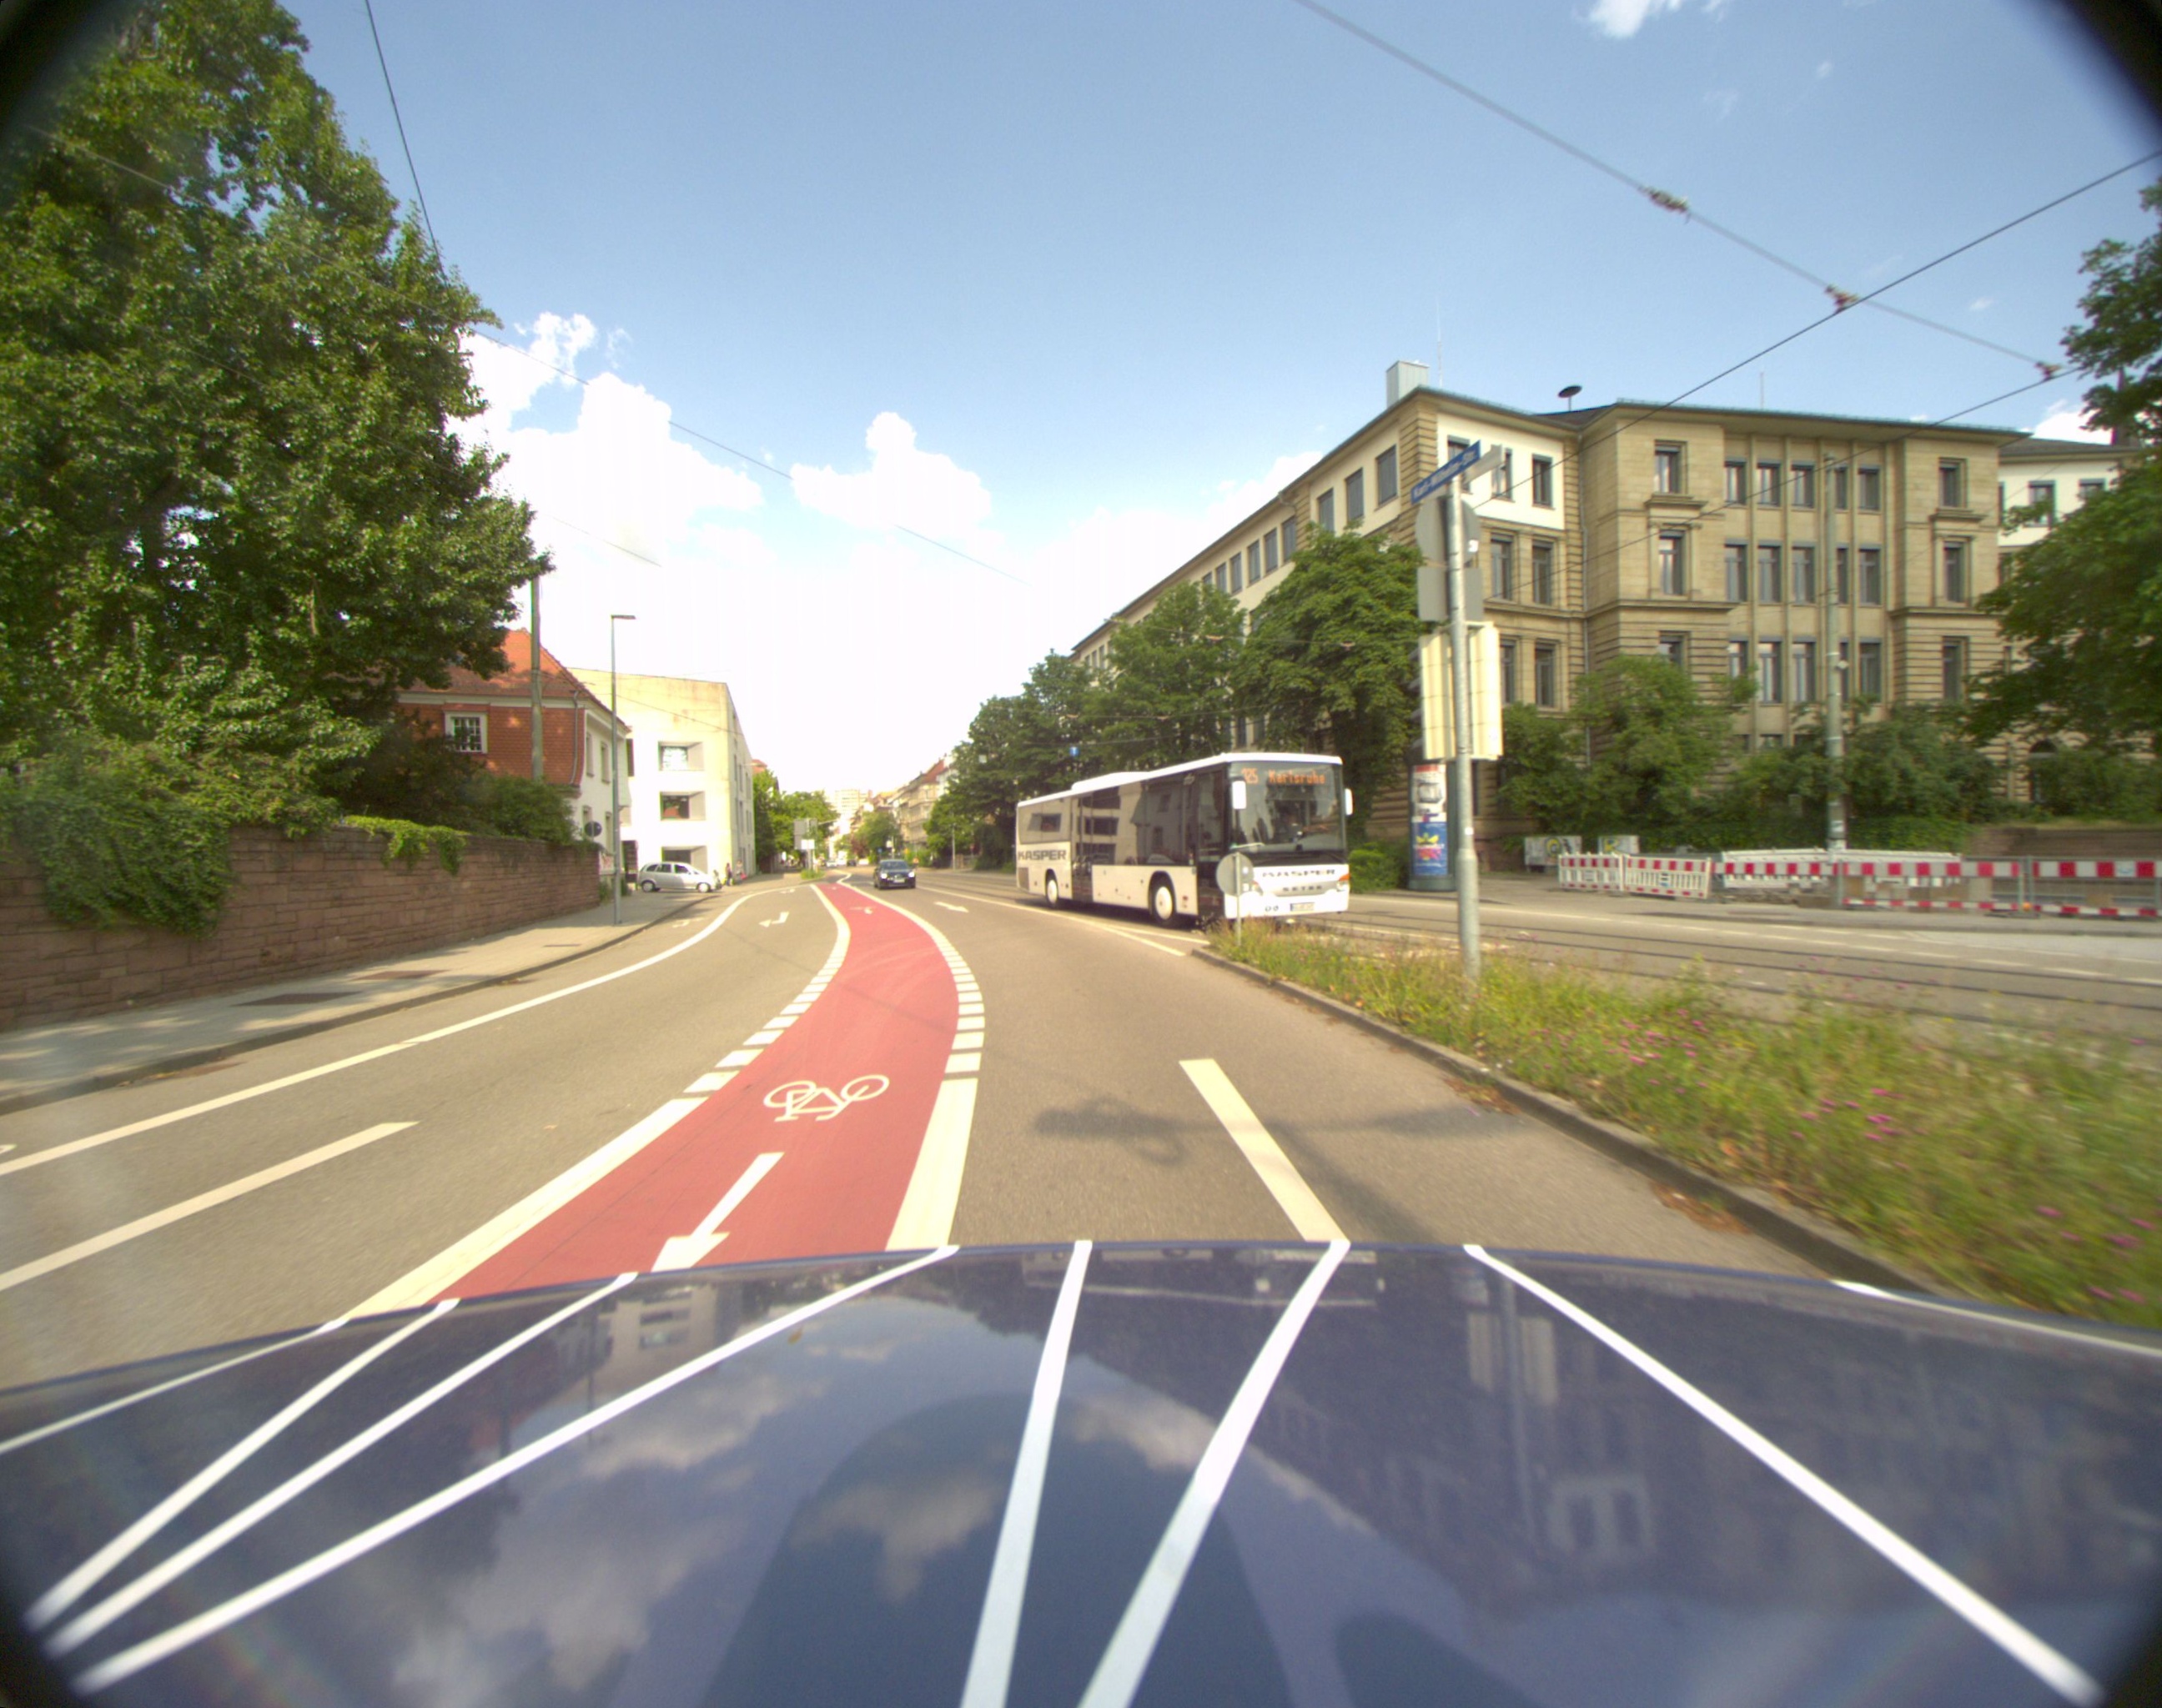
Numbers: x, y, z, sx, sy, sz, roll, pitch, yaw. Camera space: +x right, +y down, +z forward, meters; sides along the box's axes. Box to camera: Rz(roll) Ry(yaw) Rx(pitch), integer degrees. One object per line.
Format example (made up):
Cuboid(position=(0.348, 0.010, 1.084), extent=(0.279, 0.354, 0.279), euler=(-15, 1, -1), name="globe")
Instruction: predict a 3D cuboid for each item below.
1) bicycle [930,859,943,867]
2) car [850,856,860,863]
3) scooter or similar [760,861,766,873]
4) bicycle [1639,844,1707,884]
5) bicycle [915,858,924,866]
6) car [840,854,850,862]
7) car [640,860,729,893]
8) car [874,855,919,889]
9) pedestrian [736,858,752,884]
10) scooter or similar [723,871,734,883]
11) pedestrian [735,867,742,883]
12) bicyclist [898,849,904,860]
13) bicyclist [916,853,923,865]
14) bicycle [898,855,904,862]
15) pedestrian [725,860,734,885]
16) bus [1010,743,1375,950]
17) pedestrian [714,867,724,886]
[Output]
Cuboid(position=(-18.934, 1.190, 99.591), extent=(1.147, 0.903, 2.983), euler=(-5, 1, -21), name="bicycle")
Cuboid(position=(-47.264, 1.116, 158.994), extent=(1.696, 1.393, 3.923), euler=(1, 0, -21), name="car")
Cuboid(position=(-32.713, 1.327, 78.172), extent=(0.323, 1.174, 1.147), euler=(-2, 1, -8), name="scooter or similar")
Cuboid(position=(18.767, 0.303, 24.095), extent=(2.123, 1.161, 0.729), euler=(-3, 1, -22), name="bicycle")
Cuboid(position=(-20.012, 1.026, 94.342), extent=(0.702, 1.011, 1.816), euler=(-1, 0, -24), name="bicycle")
Cuboid(position=(-58.154, 1.036, 187.241), extent=(1.906, 1.896, 5.374), euler=(-2, 0, -22), name="car")
Cuboid(position=(-21.029, 1.169, 40.411), extent=(3.895, 1.595, 1.663), euler=(-1, -1, -16), name="car")
Cuboid(position=(-9.451, 0.900, 38.729), extent=(1.696, 1.568, 4.149), euler=(-2, 0, -20), name="car")
Cuboid(position=(-22.791, 1.146, 51.334), extent=(0.686, 1.714, 0.748), euler=(-1, -1, 12), name="pedestrian")
Cuboid(position=(-23.314, 1.544, 50.256), extent=(0.551, 0.795, 0.267), euler=(3, -3, -44), name="scooter or similar")
Cuboid(position=(-22.307, 1.357, 49.510), extent=(0.344, 1.004, 0.396), euler=(0, -1, -30), name="pedestrian")
Cuboid(position=(-27.252, 0.087, 114.992), extent=(0.602, 1.483, 0.881), euler=(4, -2, -18), name="bicyclist")
Cuboid(position=(-20.019, 0.601, 94.331), extent=(0.694, 1.510, 0.866), euler=(0, 0, -24), name="bicyclist")
Cuboid(position=(-27.272, 0.687, 114.923), extent=(0.605, 1.090, 2.019), euler=(4, -2, -18), name="bicycle")
Cuboid(position=(-22.721, 1.210, 49.107), extent=(0.521, 1.570, 0.548), euler=(0, -1, -22), name="pedestrian")
Cuboid(position=(1.480, -0.187, 18.350), extent=(2.930, 3.309, 12.183), euler=(-3, 1, -22), name="bus")
Cuboid(position=(-22.950, 1.450, 48.179), extent=(0.405, 1.193, 0.423), euler=(-1, -1, 37), name="pedestrian")
